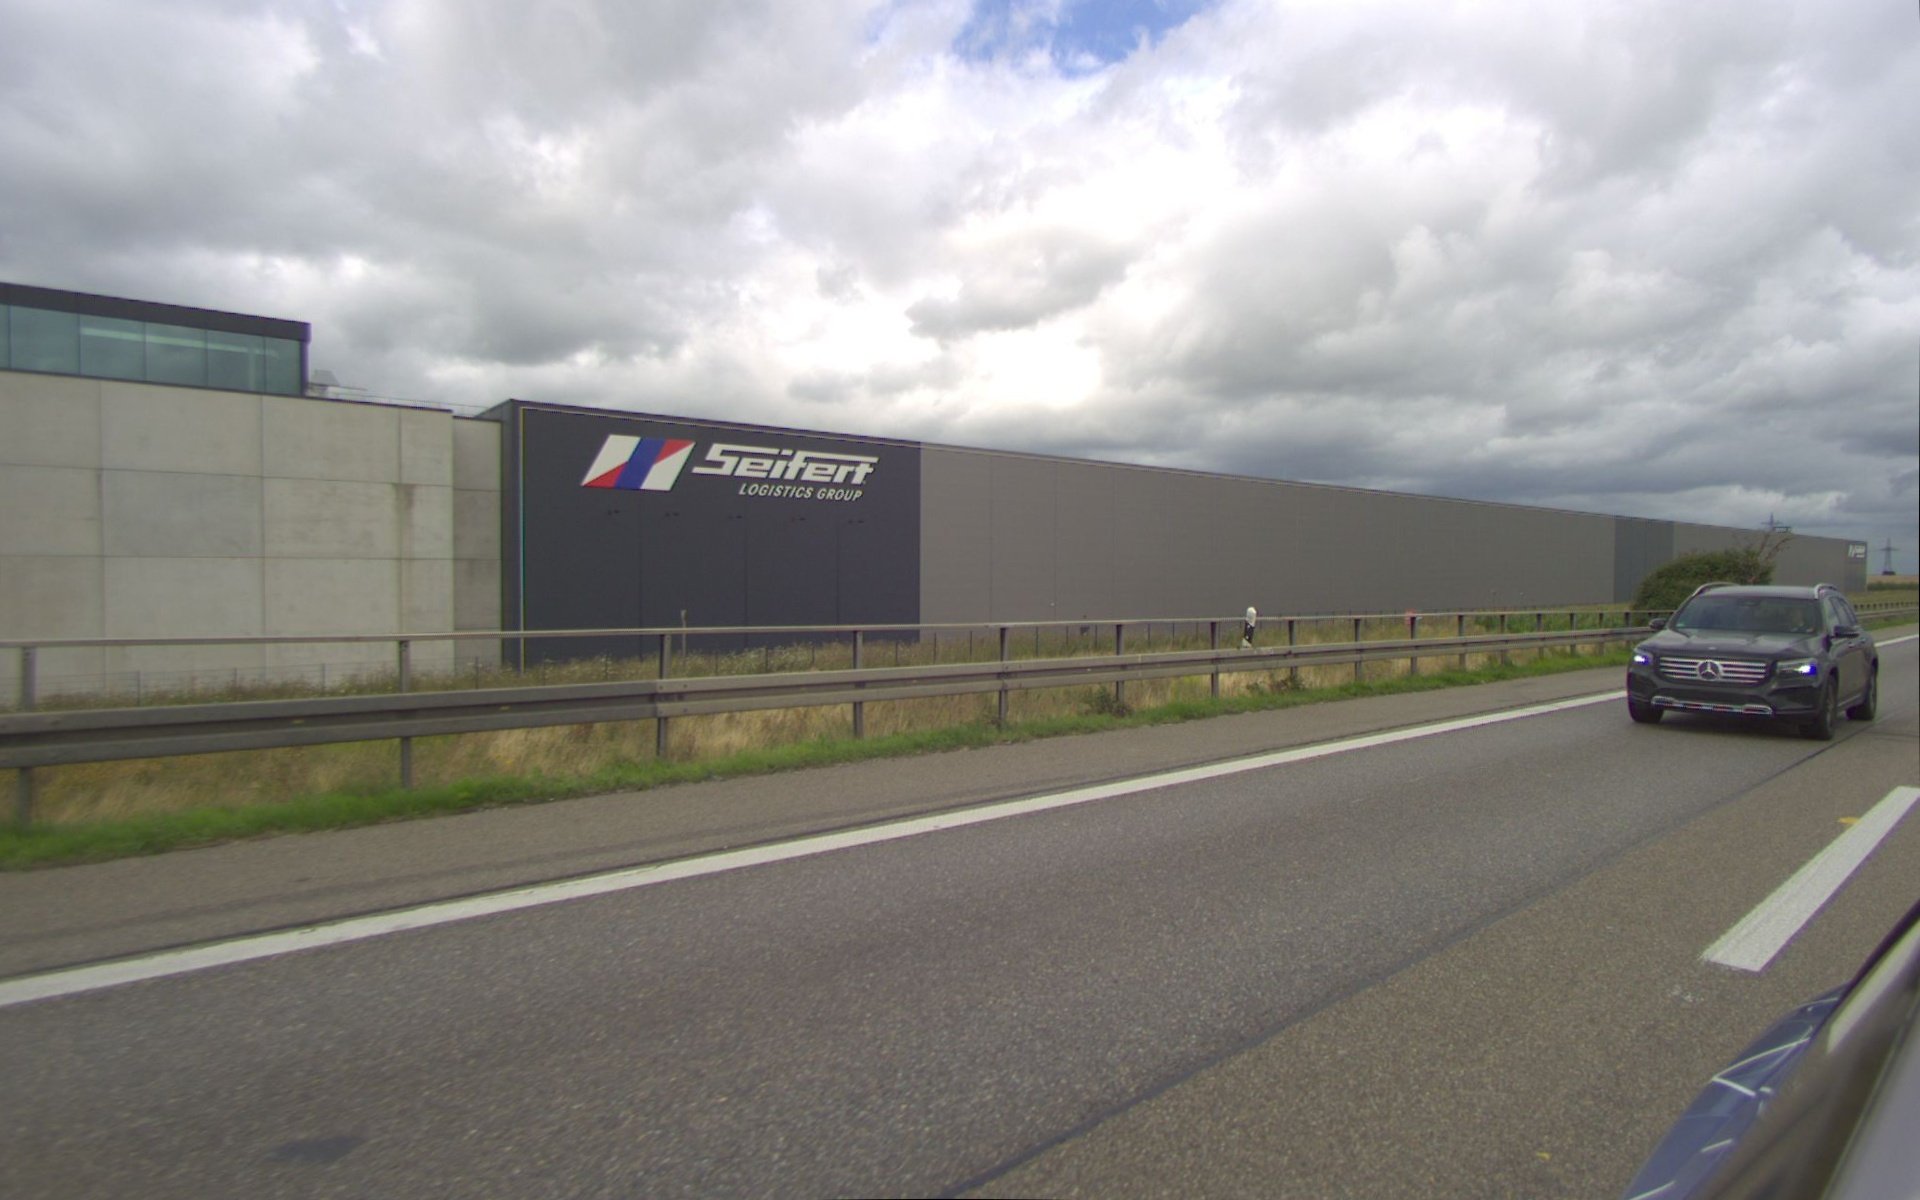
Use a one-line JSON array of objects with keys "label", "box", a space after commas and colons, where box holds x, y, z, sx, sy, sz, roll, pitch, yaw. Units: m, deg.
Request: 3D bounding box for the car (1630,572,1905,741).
[{"label": "car", "box": [9.849, 0.508, 12.221, 4.285, 1.629, 1.837, -2, 4, -41]}]
